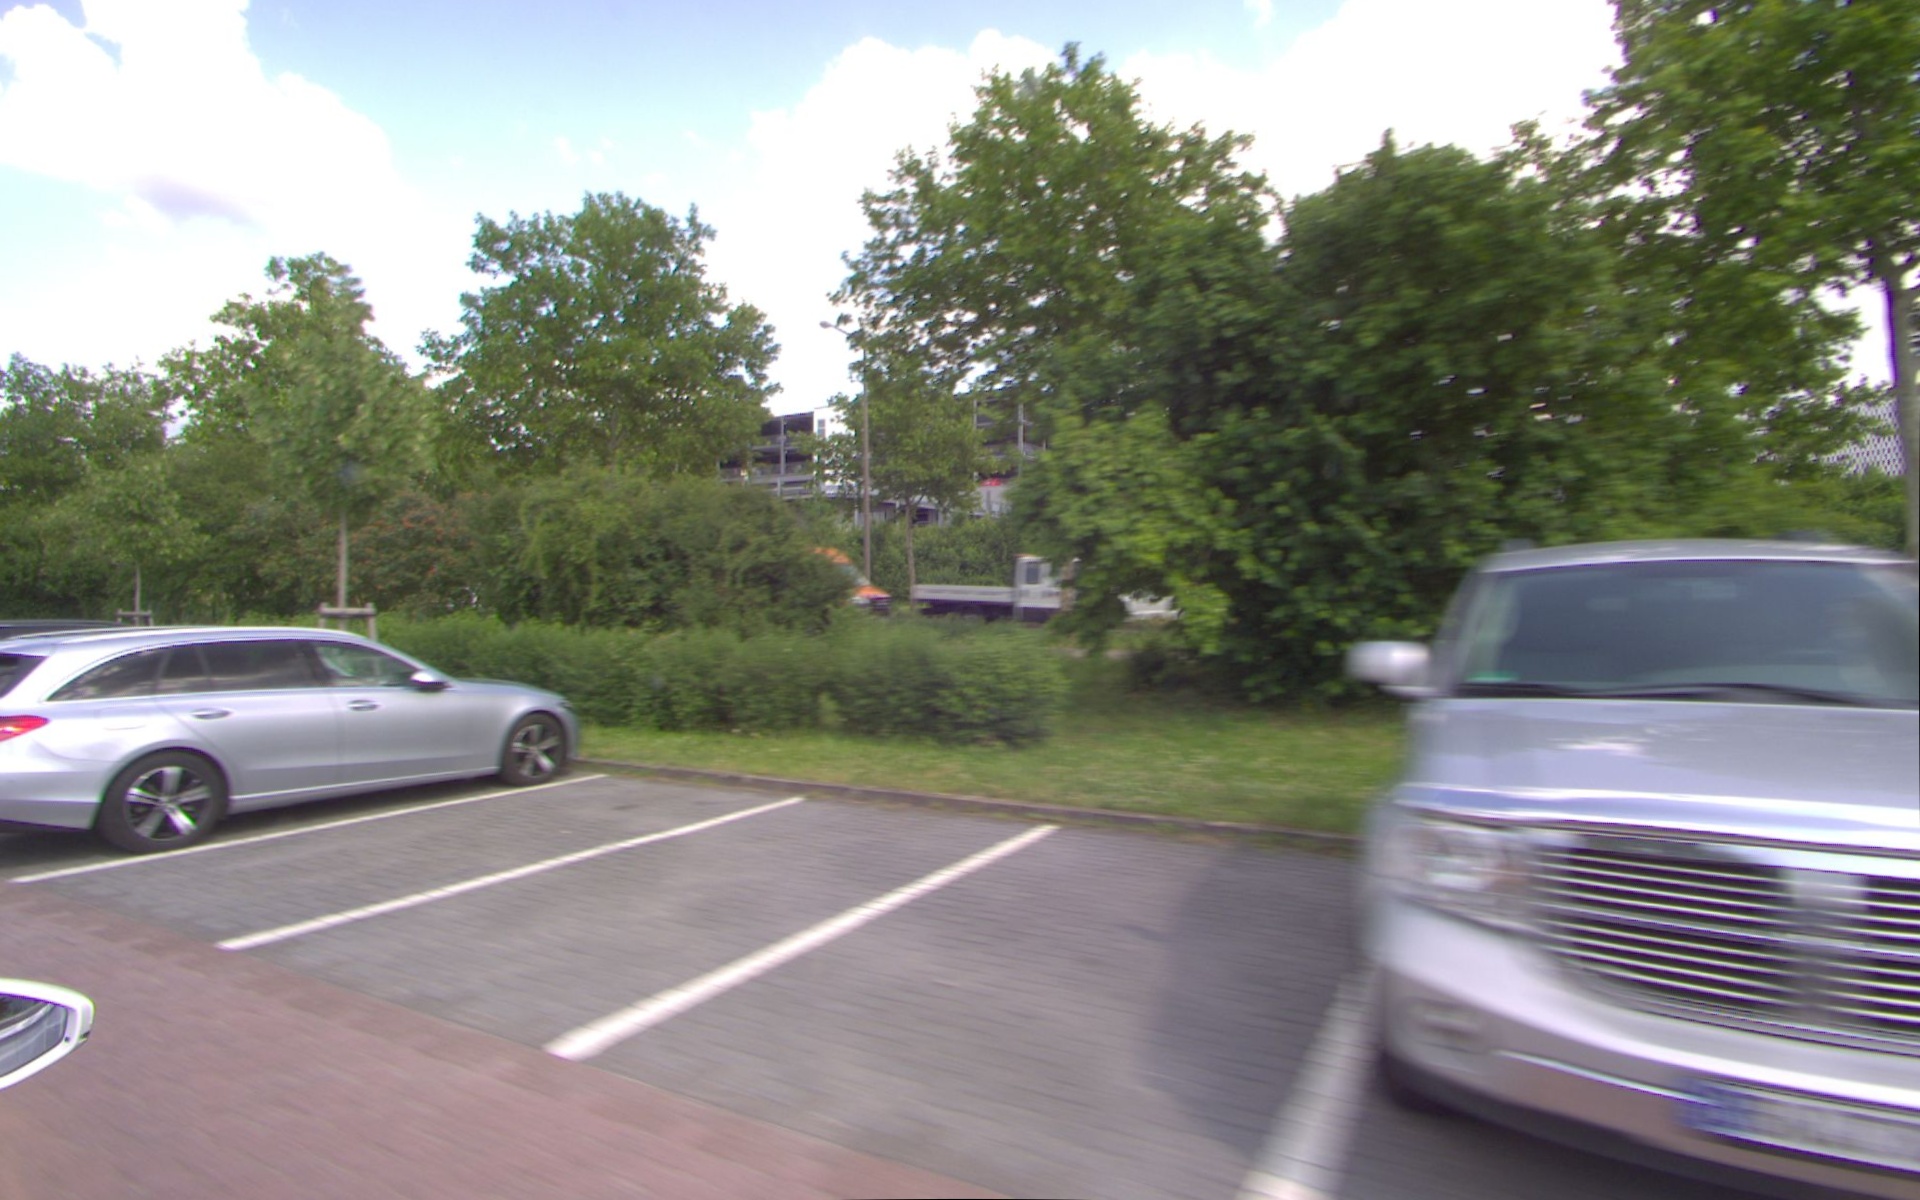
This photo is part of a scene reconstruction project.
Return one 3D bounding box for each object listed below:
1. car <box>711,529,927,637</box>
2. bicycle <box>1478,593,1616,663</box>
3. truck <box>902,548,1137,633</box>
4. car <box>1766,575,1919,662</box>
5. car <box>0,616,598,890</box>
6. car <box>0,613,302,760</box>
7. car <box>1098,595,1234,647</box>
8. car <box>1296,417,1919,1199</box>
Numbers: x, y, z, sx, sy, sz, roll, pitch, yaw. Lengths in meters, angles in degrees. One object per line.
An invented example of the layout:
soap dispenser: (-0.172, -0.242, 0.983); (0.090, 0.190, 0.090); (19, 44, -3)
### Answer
car: (-4.477, -0.393, 31.141); (6.886, 2.920, 1.992); (-3, -3, 30)
bicycle: (9.164, 0.436, 15.705); (1.843, 1.050, 0.525); (-1, -2, 30)
truck: (1.712, -0.257, 30.183); (6.880, 2.374, 1.992); (0, 0, 28)
car: (22.630, 0.438, 24.732); (3.939, 2.040, 1.991); (0, 0, 30)
car: (-5.353, 0.920, 8.017); (1.757, 1.524, 4.634); (0, 0, 28)
car: (-9.498, 0.878, 10.570); (1.673, 1.398, 3.985); (-2, -3, 28)
car: (6.873, 0.759, 33.502); (4.117, 1.568, 1.845); (-2, -3, 28)
car: (2.859, 0.614, 4.066); (1.960, 1.867, 5.125); (0, 0, 29)
